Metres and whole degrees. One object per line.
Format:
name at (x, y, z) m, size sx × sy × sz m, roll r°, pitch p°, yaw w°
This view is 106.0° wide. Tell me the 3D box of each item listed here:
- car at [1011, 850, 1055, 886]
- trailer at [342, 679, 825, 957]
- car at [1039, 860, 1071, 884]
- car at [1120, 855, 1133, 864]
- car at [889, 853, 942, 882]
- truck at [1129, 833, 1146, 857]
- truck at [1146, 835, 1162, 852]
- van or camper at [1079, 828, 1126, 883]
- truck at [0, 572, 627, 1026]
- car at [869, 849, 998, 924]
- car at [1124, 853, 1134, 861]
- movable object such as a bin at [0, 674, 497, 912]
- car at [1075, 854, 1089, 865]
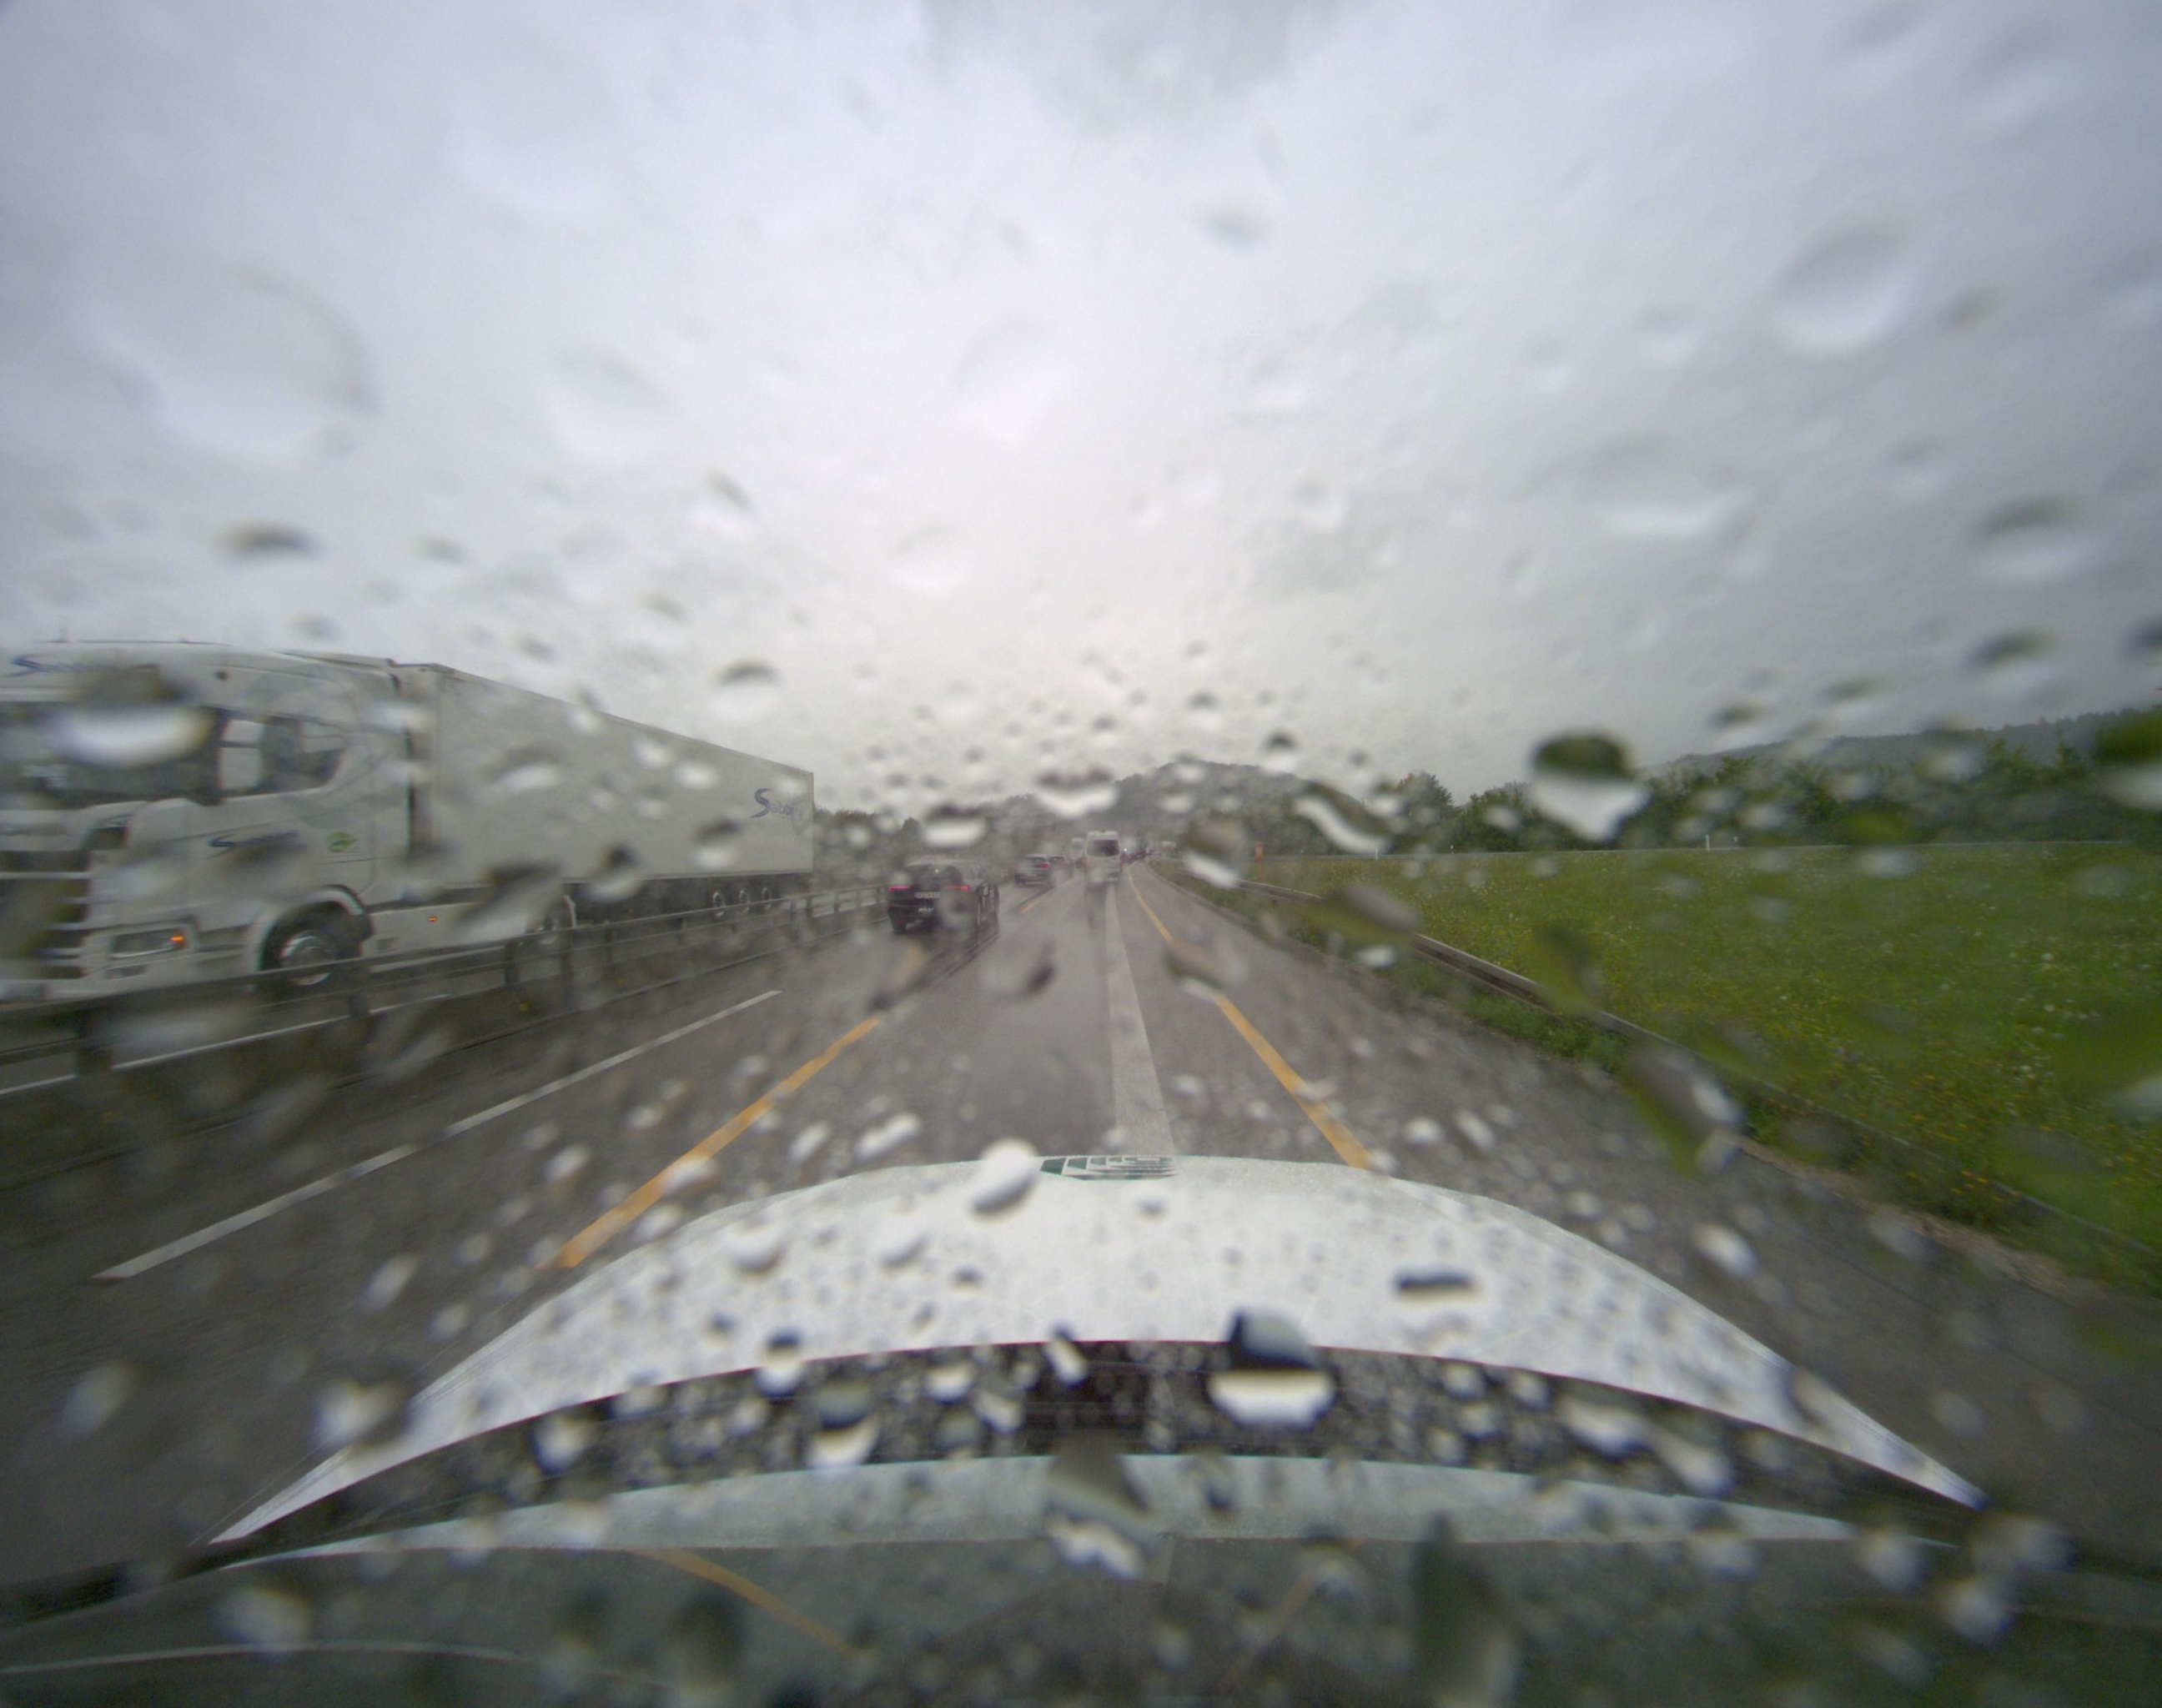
car at (-2.293, 0.643, 39.571) m, size 1.861 × 1.659 × 3.988 m, roll -1°, pitch 0°, yaw 0°
trailer at (-9.351, -0.597, 18.262) m, size 2.896 × 4.089 × 12.225 m, roll -1°, pitch 1°, yaw 2°
car at (-1.759, 1.192, 55.634) m, size 1.845 × 1.500 × 4.003 m, roll -1°, pitch 0°, yaw 2°
car at (5.748, 0.652, 104.005) m, size 1.381 × 1.078 × 3.120 m, roll -1°, pitch 0°, yaw -2°
car at (-9.323, 0.739, 46.120) m, size 1.986 × 1.505 × 4.298 m, roll -1°, pitch 0°, yaw 1°
truck at (11.536, -1.749, 166.728) m, size 3.305 × 4.785 × 9.919 m, roll 0°, pitch 0°, yaw 5°
truck at (20.883, -2.902, 232.751) m, size 3.905 × 4.785 × 9.932 m, roll 0°, pitch 0°, yaw 9°
van or camper at (1.052, 0.077, 42.438) m, size 2.134 × 2.721 × 4.645 m, roll -1°, pitch 0°, yaw -2°
truck at (-9.569, -0.520, 10.888) m, size 2.873 × 4.101 × 6.929 m, roll -1°, pitch 1°, yaw 2°
car at (-3.048, 0.628, 17.888) m, size 1.932 × 1.427 × 4.760 m, roll 0°, pitch 0°, yaw 0°
car at (7.397, 0.434, 124.605) m, size 1.380 × 1.256 × 3.122 m, roll -1°, pitch 0°, yaw 1°
movable object such as a bin at (-24.817, -1.500, 25.797) m, size 4.154 × 5.915 × 11.053 m, roll 0°, pitch 0°, yaw 3°
car at (0.119, 0.542, 81.749) m, size 1.258 × 1.078 × 3.255 m, roll -1°, pitch 0°, yaw 1°
